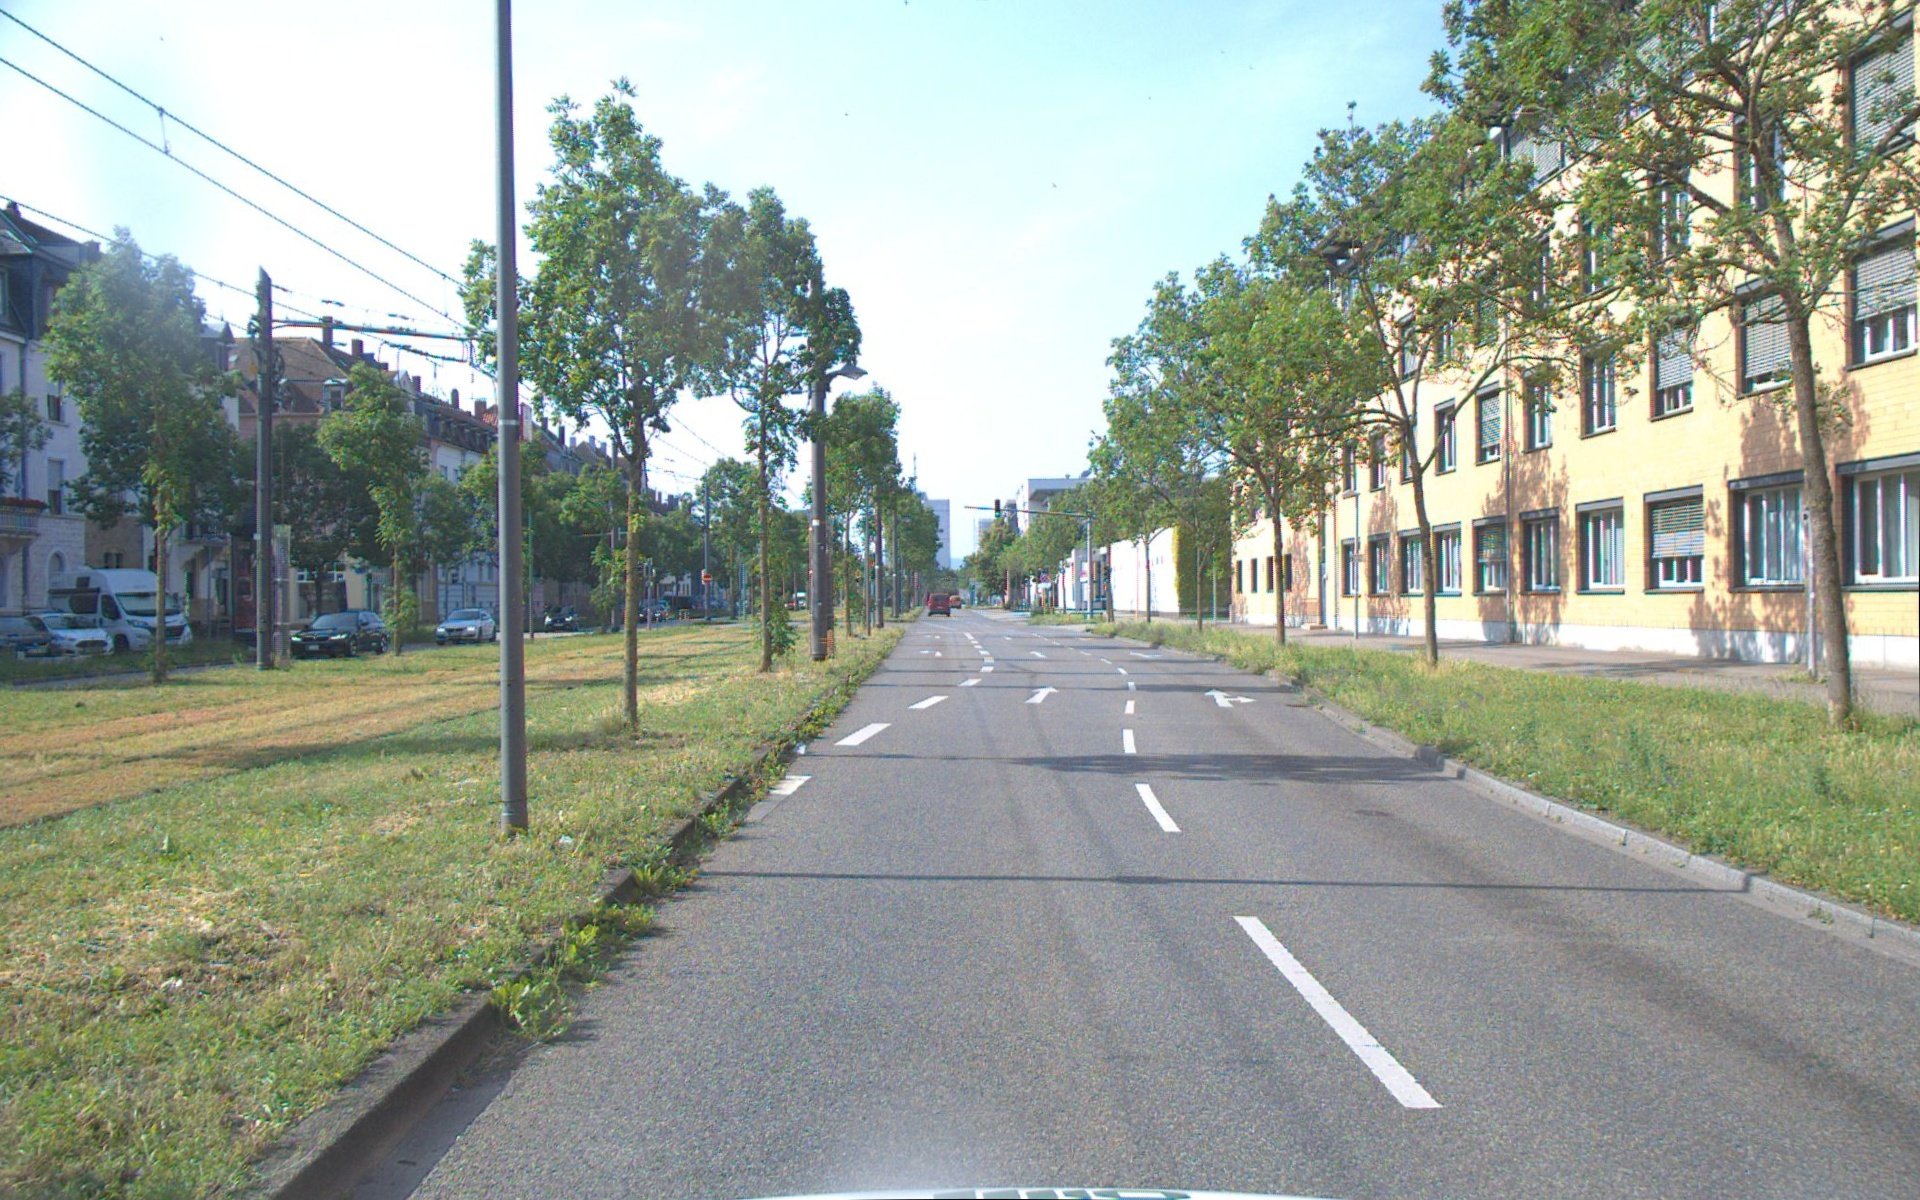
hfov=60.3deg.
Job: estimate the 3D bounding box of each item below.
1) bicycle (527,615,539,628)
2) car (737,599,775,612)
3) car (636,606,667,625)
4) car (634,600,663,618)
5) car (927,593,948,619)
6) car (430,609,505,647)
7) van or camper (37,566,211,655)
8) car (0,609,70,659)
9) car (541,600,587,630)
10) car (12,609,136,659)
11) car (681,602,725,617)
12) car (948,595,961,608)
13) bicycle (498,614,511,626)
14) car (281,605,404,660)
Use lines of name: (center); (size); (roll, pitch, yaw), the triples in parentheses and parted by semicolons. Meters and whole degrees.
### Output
bicycle: (-31.306, 1.578, 121.305); (0.438, 0.872, 1.946); (1, -1, -2)
car: (-28.659, 0.778, 232.156); (5.216, 1.768, 1.994); (1, -1, 33)
car: (-24.271, 1.236, 130.255); (1.775, 1.458, 3.924); (2, -1, -2)
car: (-29.027, 0.828, 154.409); (1.954, 1.657, 4.772); (2, 0, -3)
car: (-1.873, 0.523, 138.176); (1.712, 2.049, 3.215); (1, -1, 0)
car: (-20.924, 1.171, 70.427); (1.908, 1.485, 4.646); (2, -1, -2)
van or camper: (-26.000, 0.300, 51.372); (5.803, 2.618, 2.192); (1, -1, 34)
car: (-26.089, 0.892, 44.543); (3.598, 1.263, 1.663); (1, -1, 18)
car: (-23.119, 0.873, 96.641); (1.728, 1.684, 3.999); (1, -1, -1)
car: (-25.762, 0.977, 48.054); (3.610, 1.355, 1.657); (1, -1, 34)
car: (-26.487, 1.013, 170.695); (4.388, 1.444, 1.967); (1, -1, 36)
car: (-0.703, 0.208, 224.926); (1.712, 1.679, 3.215); (1, -1, 0)
bicycle: (-31.483, 1.396, 114.424); (0.428, 0.803, 1.946); (1, -1, -2)
car: (-20.149, 1.046, 54.240); (1.952, 1.658, 5.379); (1, -1, 0)
